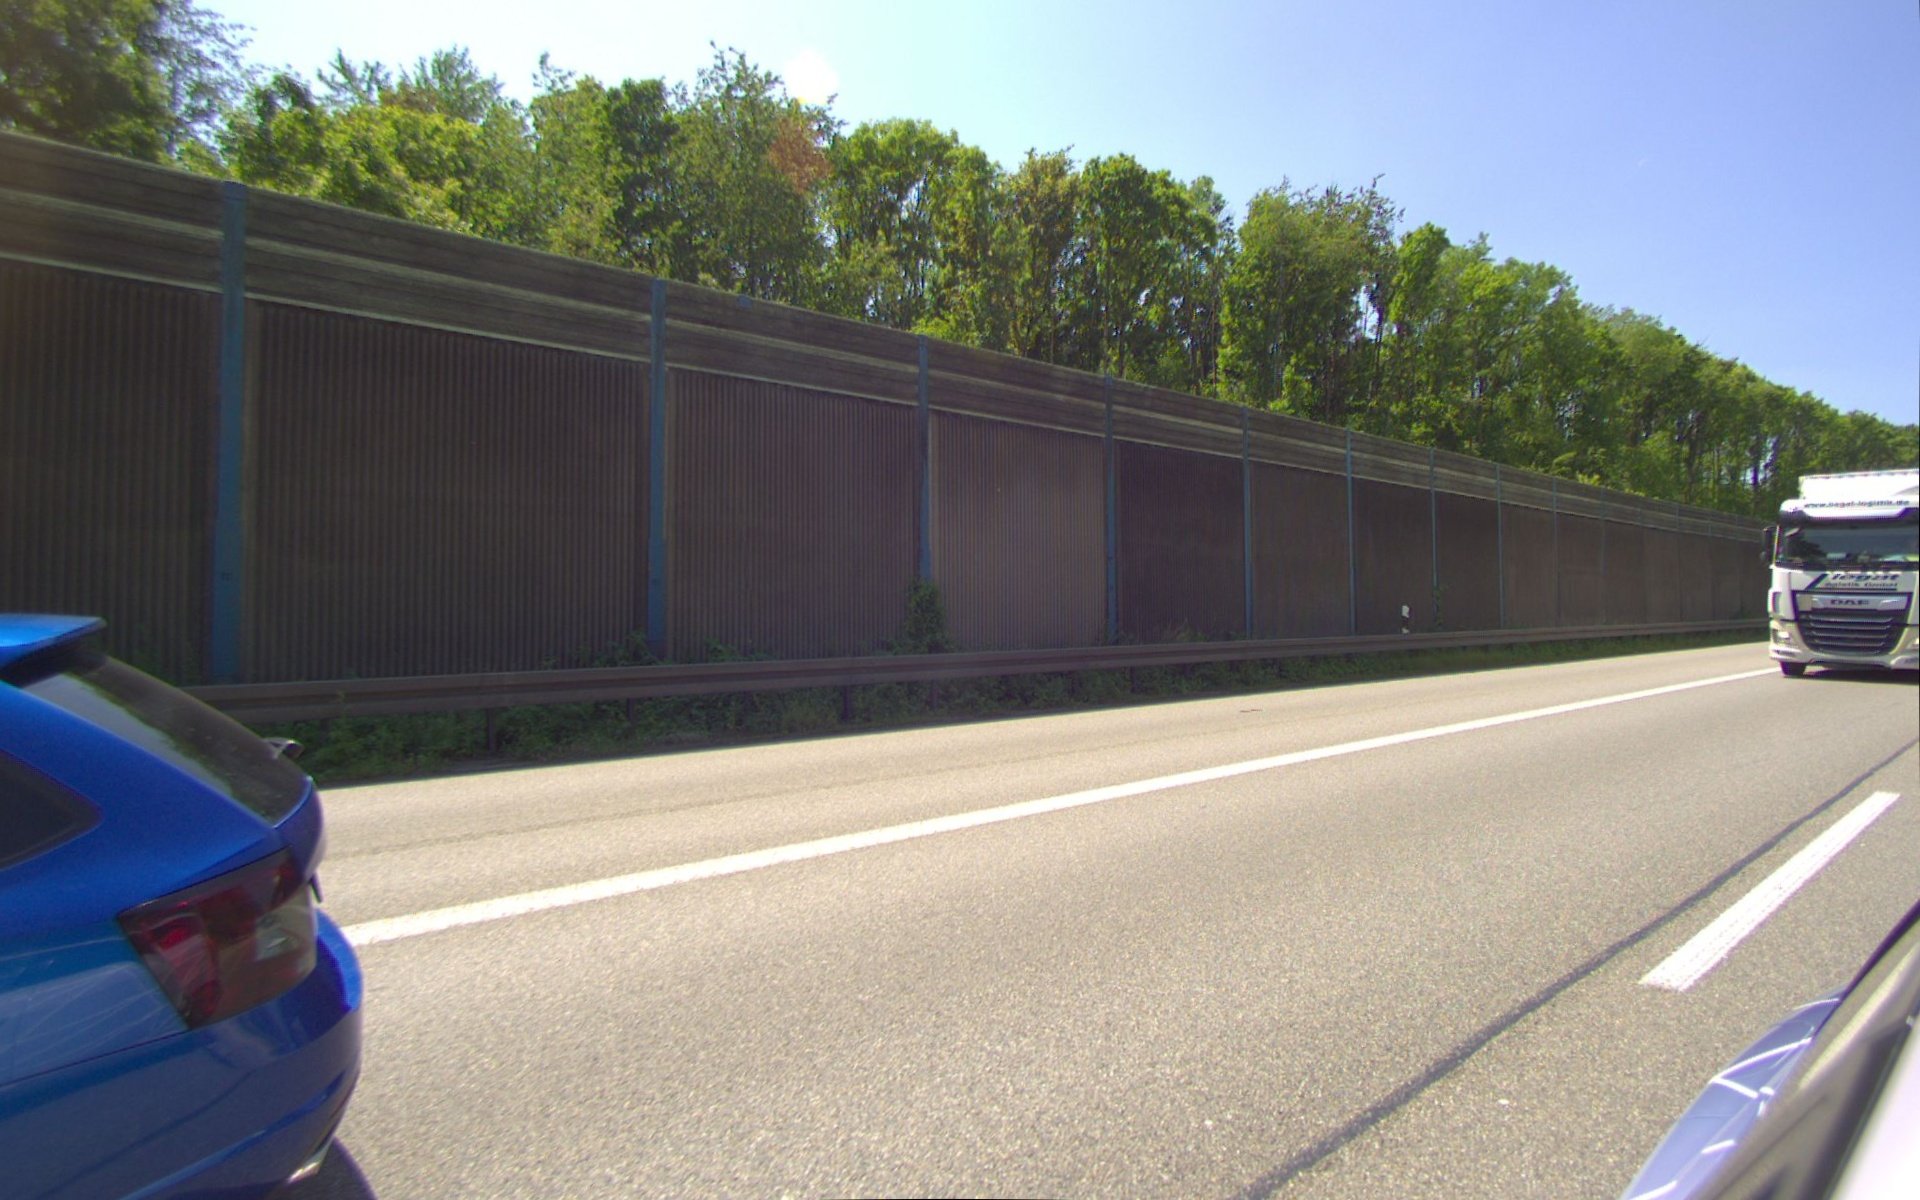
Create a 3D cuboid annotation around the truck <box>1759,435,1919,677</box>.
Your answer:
[{"bbox_3d":[18.580,-0.769,20.282,5.762,4.258,2.792,0,0,-38],"label":"truck"}]

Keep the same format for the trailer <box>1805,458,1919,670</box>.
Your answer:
[{"bbox_3d":[24.048,-0.704,24.747,13.004,4.258,2.792,0,0,-39],"label":"trailer"}]

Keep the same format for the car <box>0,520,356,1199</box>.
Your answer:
[{"bbox_3d":[-3.291,0.659,1.006,4.404,1.501,1.653,-2,2,-41],"label":"car"}]
